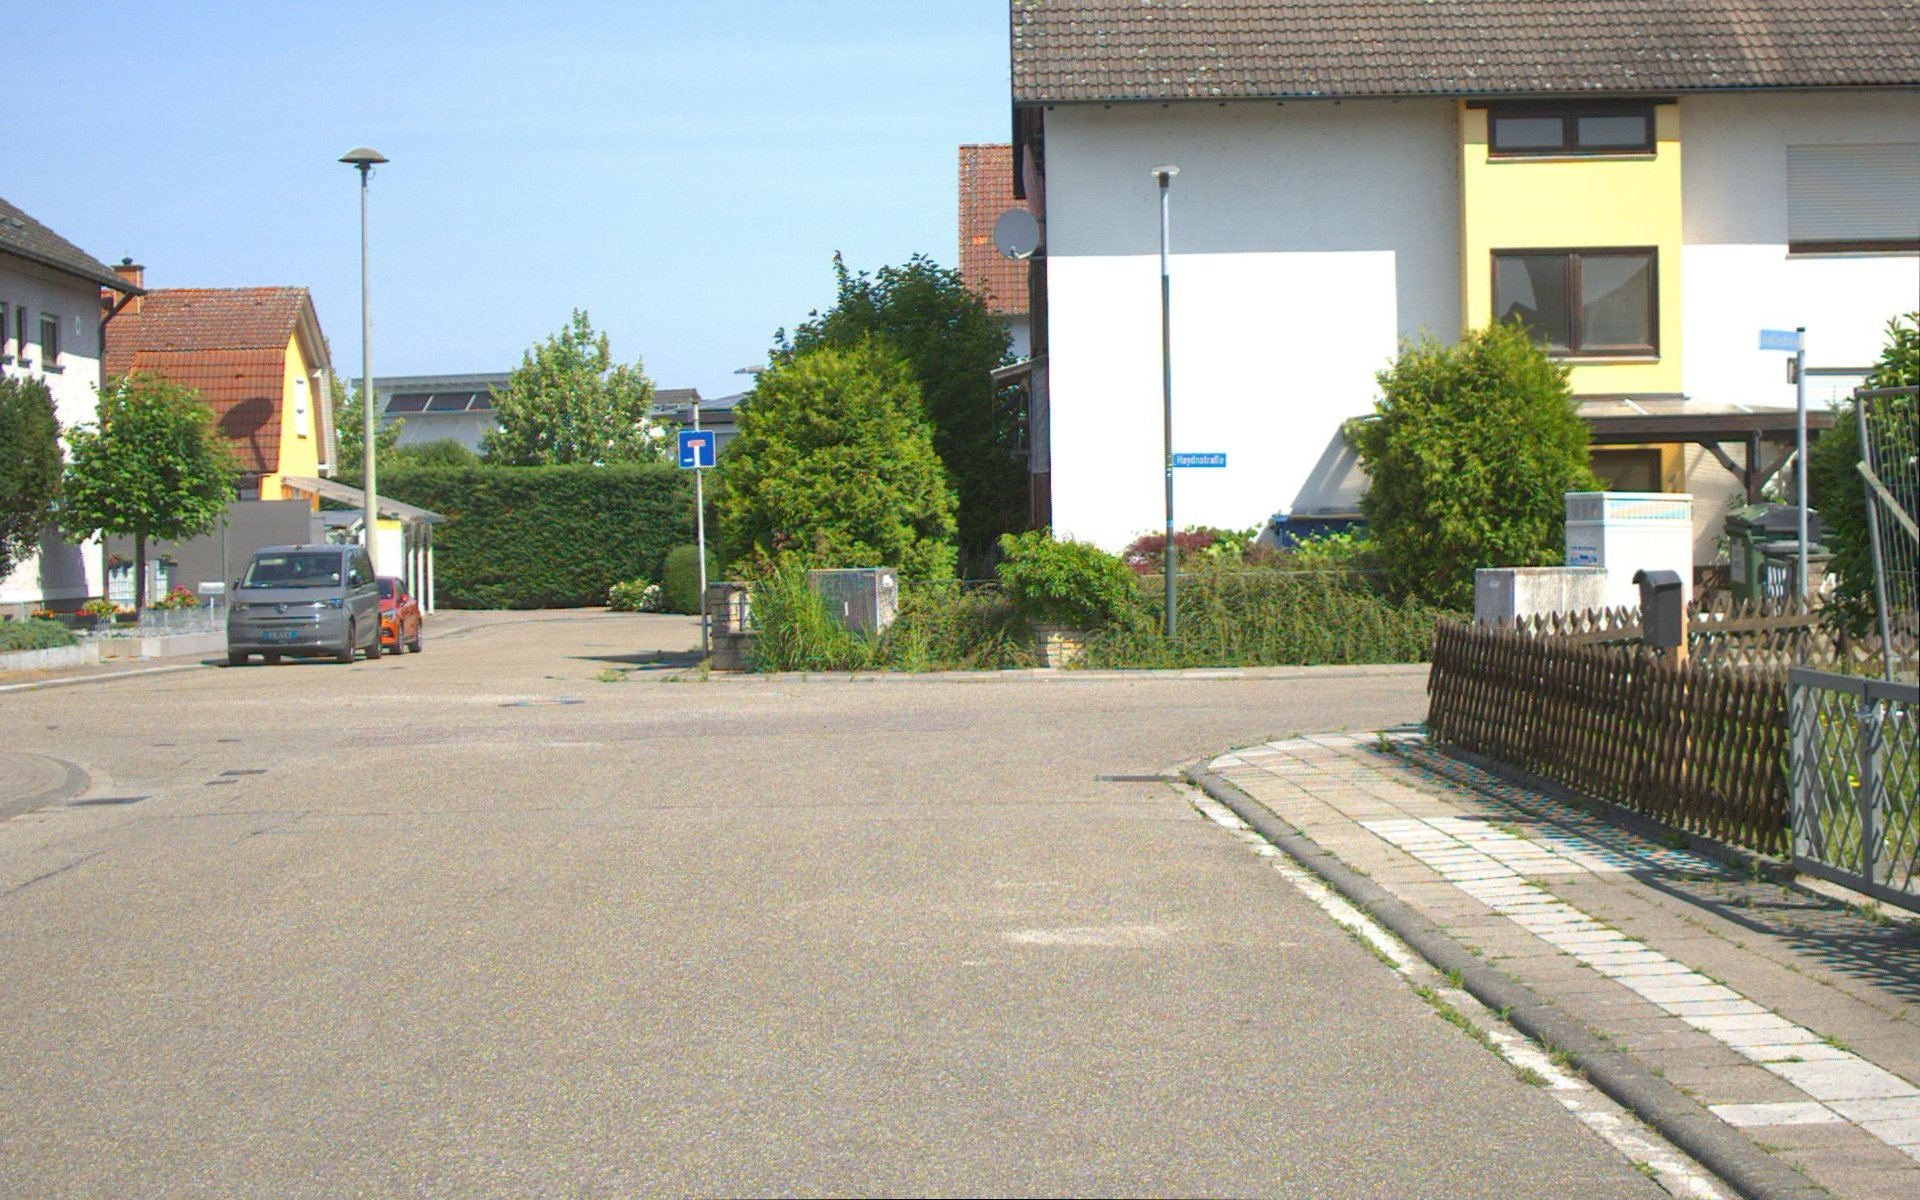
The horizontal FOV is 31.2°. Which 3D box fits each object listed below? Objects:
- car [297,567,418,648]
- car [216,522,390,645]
[{"bbox_3d":[-10.761,0.110,61.605,1.651,1.360,3.779,-1,1,-2],"label":"car"},{"bbox_3d":[-10.482,-0.297,55.162,1.901,1.863,4.371,-1,1,0],"label":"car"}]
